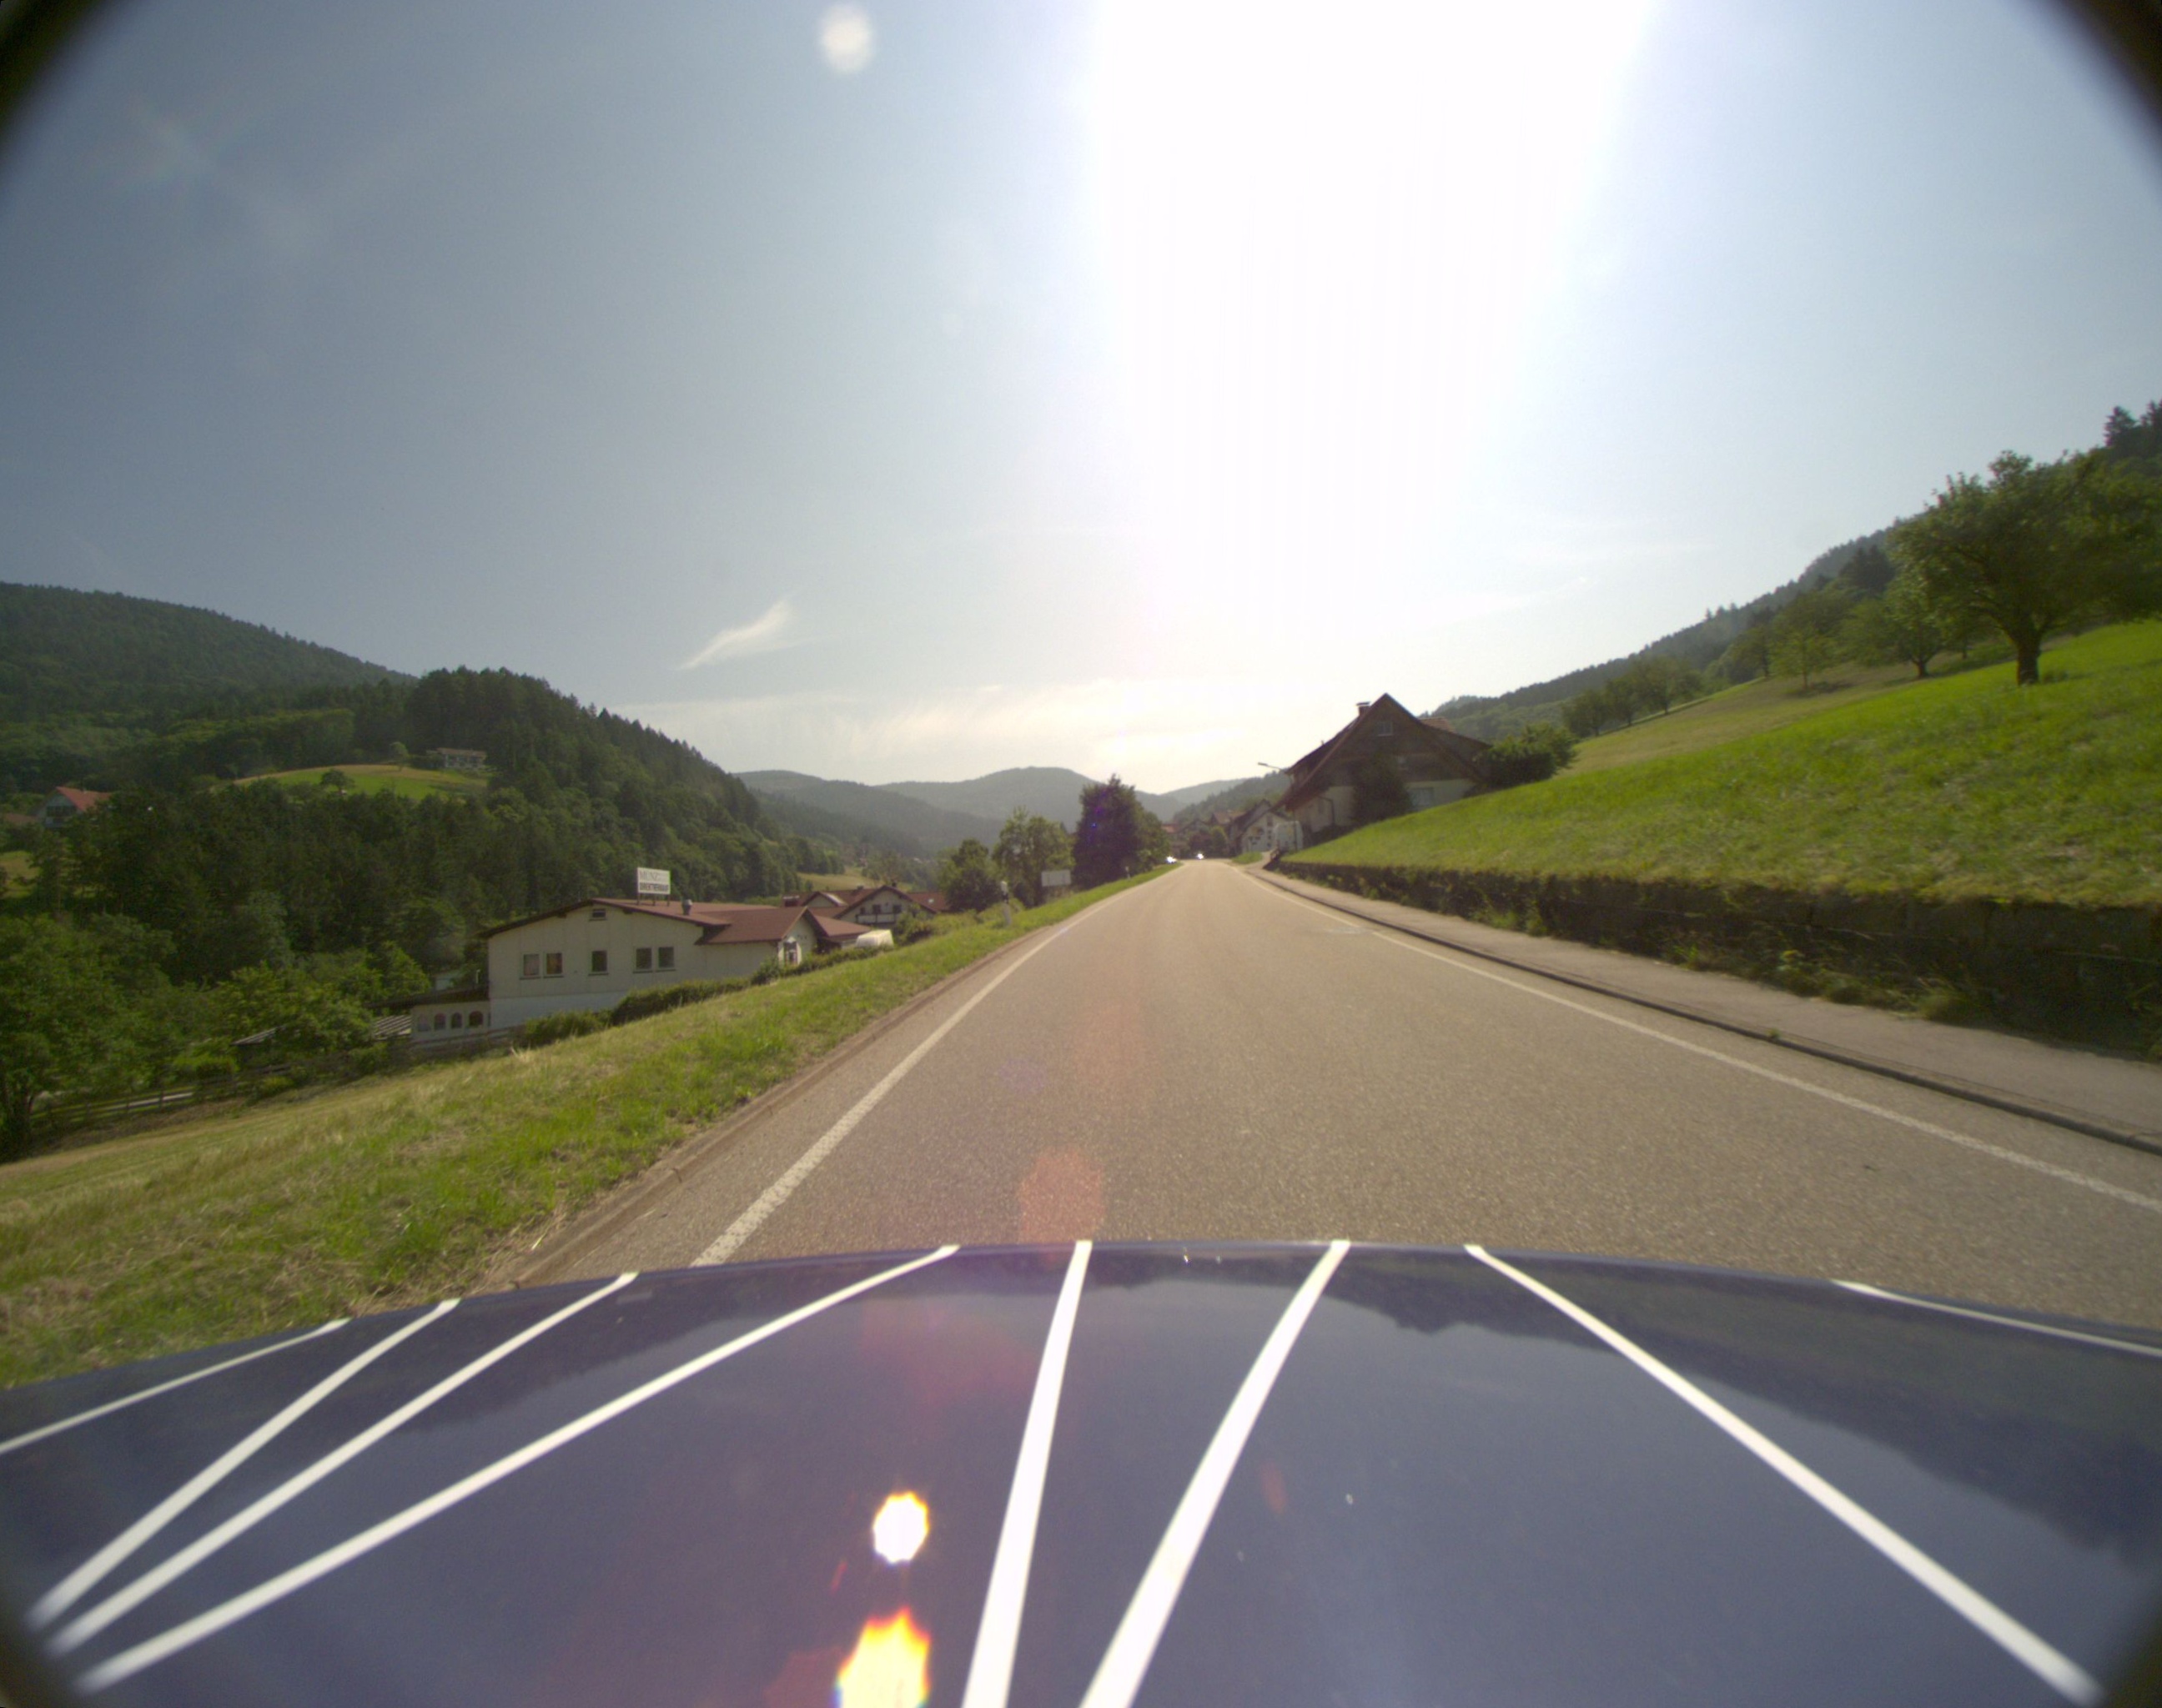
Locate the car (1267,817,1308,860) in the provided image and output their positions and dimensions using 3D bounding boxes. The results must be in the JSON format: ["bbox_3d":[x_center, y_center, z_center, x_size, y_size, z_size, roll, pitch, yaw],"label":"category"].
[{"bbox_3d":[15.886,-1.101,58.795,2.071,2.671,7.182,-6,-4,9],"label":"car"}]

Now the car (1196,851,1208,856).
[{"bbox_3d":[32.983,-0.092,207.870,1.788,1.330,4.692,-3,0,-9],"label":"car"}]
